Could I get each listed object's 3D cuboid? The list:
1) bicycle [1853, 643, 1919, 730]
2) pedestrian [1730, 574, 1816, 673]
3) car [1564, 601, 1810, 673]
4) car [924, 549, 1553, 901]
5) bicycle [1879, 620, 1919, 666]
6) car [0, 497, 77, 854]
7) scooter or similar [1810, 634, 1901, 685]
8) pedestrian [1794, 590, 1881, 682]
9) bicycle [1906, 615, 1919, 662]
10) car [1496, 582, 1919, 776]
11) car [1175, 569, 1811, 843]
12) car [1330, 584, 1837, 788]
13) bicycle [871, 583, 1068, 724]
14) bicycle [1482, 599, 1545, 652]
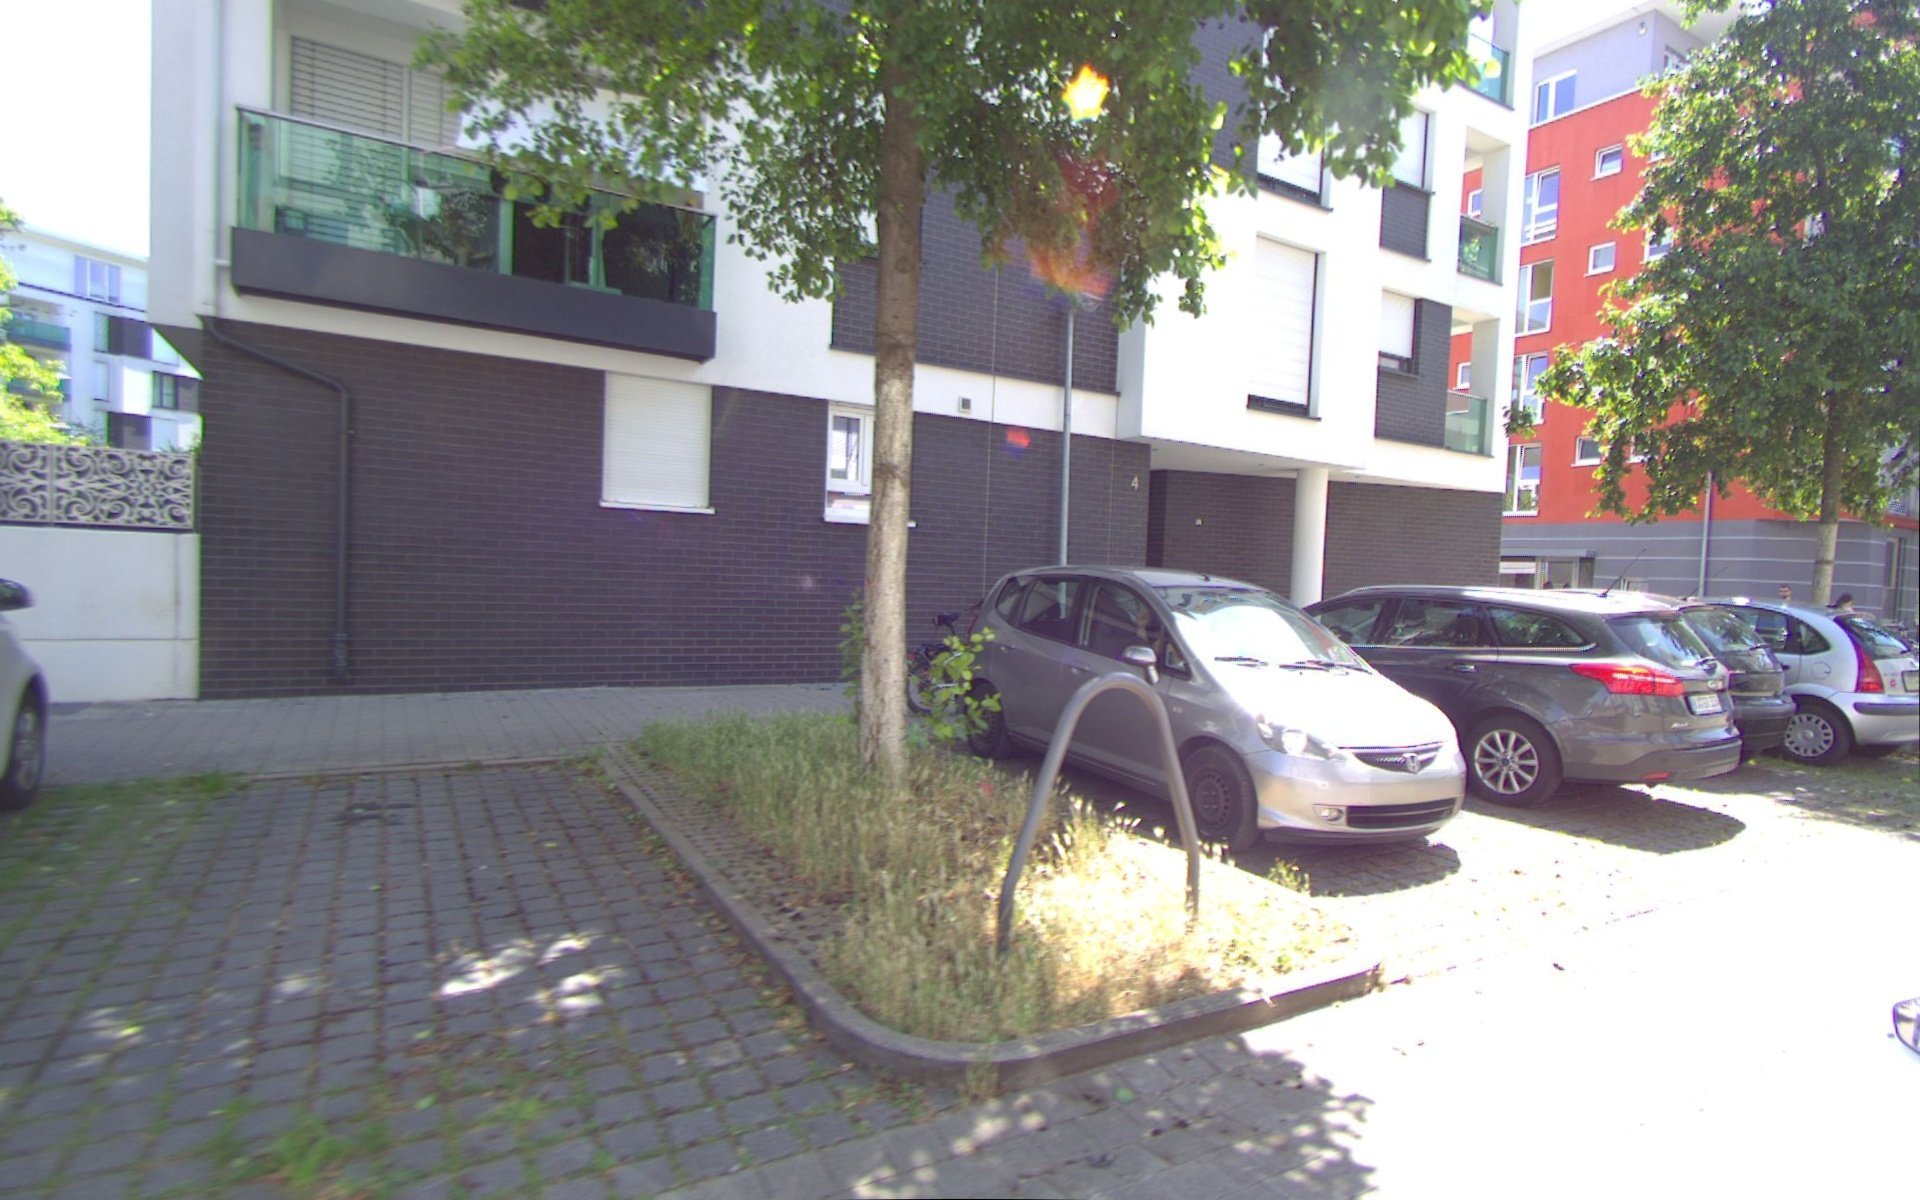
[{"bbox_3d":[12.218,1.097,12.894,1.656,1.004,0.531,2,3,-29],"label":"bicycle"},{"bbox_3d":[17.351,0.491,21.455,1.115,2.041,1.005,1,1,-28],"label":"pedestrian"},{"bbox_3d":[17.838,0.832,24.901,1.916,1.402,4.545,-1,3,-32],"label":"car"},{"bbox_3d":[1.517,0.524,6.876,1.851,1.574,3.917,1,3,-31],"label":"car"},{"bbox_3d":[24.646,1.114,26.314,2.090,1.122,0.601,1,2,-42],"label":"bicycle"},{"bbox_3d":[-4.850,0.327,3.758,1.828,1.520,2.916,1,4,-31],"label":"car"},{"bbox_3d":[17.753,1.169,19.924,1.006,0.900,1.063,1,2,-29],"label":"scooter or similar"},{"bbox_3d":[17.004,0.685,19.475,0.822,1.713,0.995,1,2,-30],"label":"pedestrian"},{"bbox_3d":[26.830,1.063,27.726,1.903,1.256,0.548,1,1,-32],"label":"bicycle"},{"bbox_3d":[8.120,0.688,10.883,1.810,1.541,3.612,1,3,-30],"label":"car"},{"bbox_3d":[4.011,0.622,8.278,1.939,1.506,4.154,3,2,-34],"label":"car"},{"bbox_3d":[5.958,0.672,10.138,1.778,1.575,3.970,1,1,-28],"label":"car"},{"bbox_3d":[0.107,0.479,9.351,1.752,1.206,0.564,1,2,-28],"label":"bicycle"},{"bbox_3d":[15.838,0.696,28.814,0.669,1.397,2.351,2,1,6],"label":"bicycle"}]
